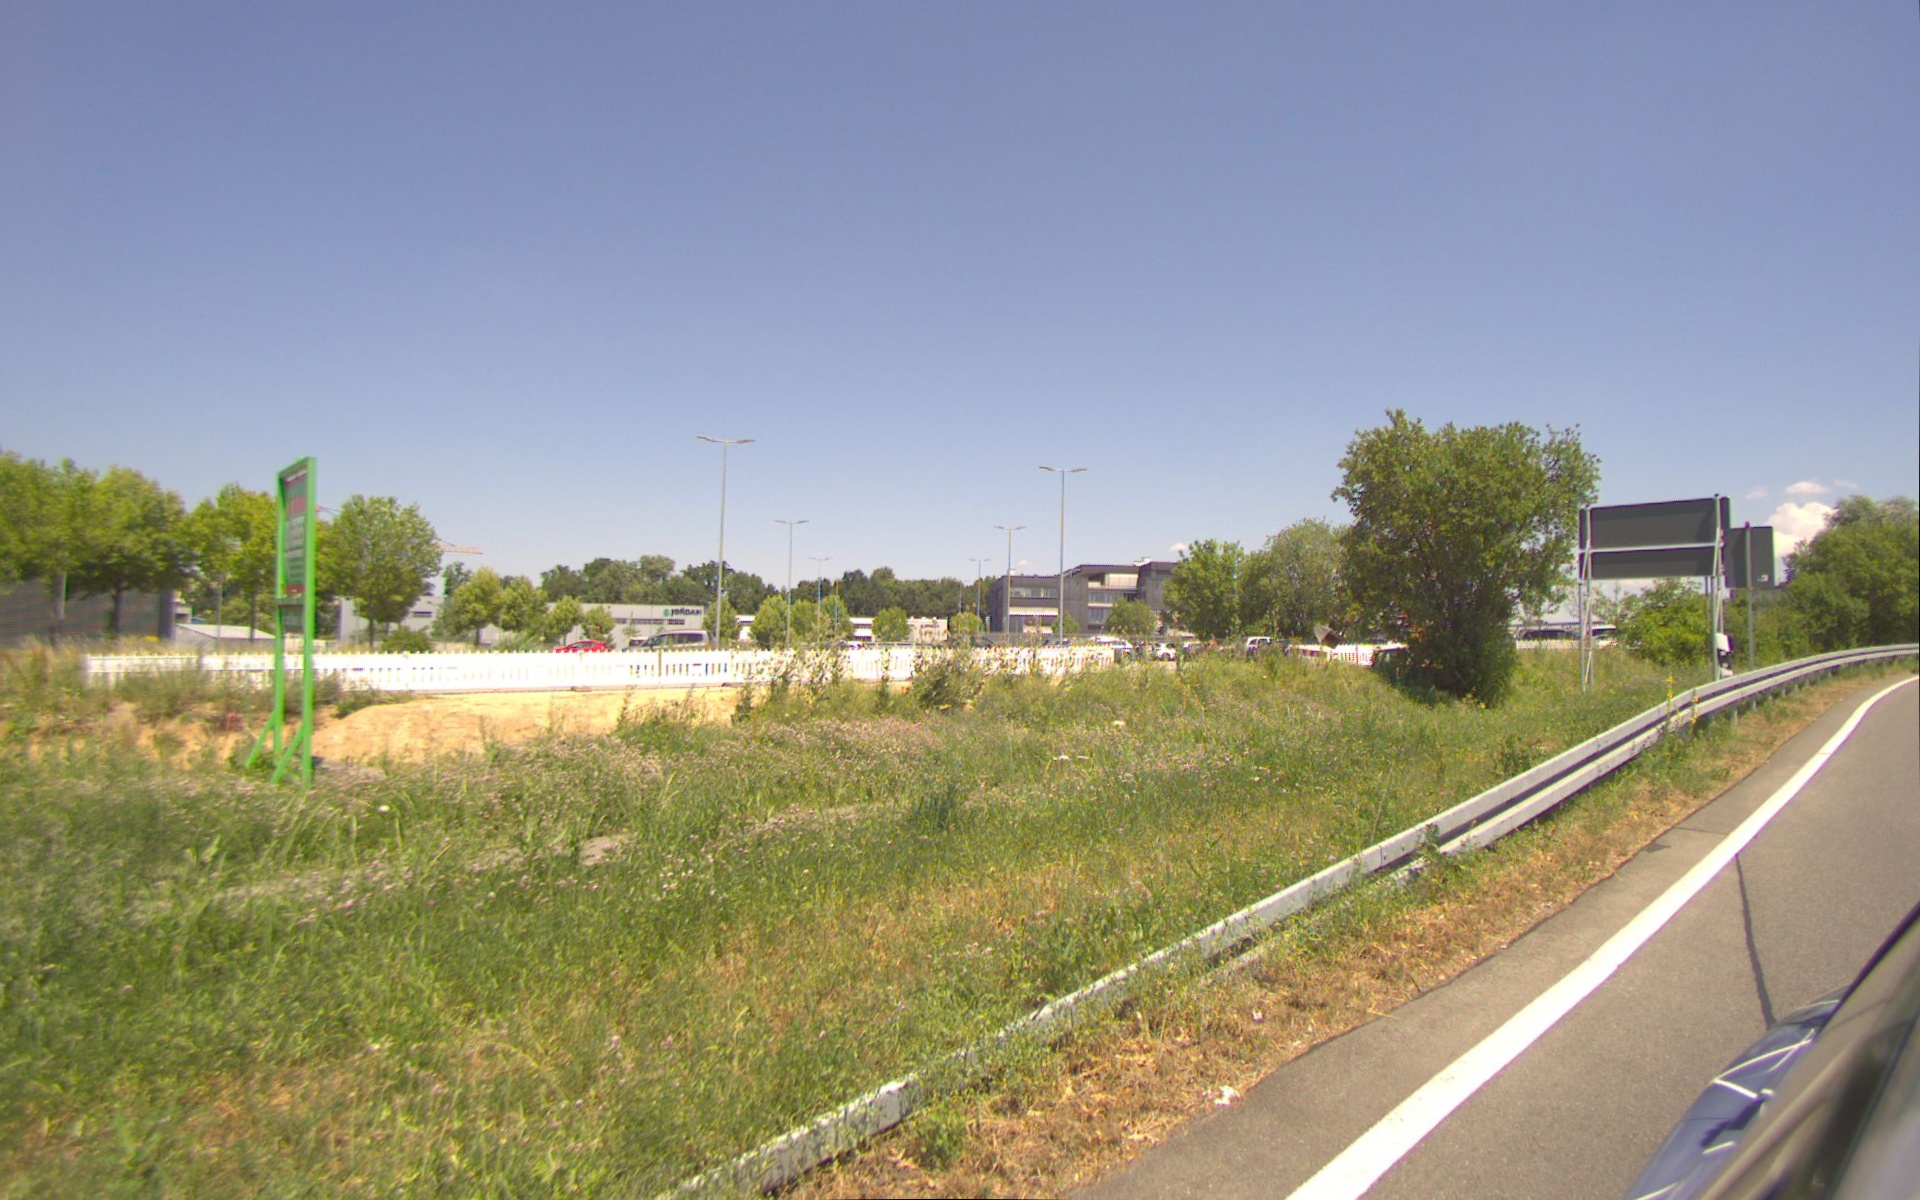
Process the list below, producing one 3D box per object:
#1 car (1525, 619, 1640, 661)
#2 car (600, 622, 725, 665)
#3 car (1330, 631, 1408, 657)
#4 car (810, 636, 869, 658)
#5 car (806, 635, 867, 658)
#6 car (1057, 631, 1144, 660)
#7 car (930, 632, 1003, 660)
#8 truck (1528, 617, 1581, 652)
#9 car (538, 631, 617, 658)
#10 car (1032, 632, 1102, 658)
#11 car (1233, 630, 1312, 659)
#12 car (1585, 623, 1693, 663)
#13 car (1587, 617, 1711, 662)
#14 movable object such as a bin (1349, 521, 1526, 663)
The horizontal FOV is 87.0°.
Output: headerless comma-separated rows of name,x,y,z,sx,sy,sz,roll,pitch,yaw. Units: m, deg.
car,31.139,2.027,50.717,2.025,1.939,4.443,4,-5,-36
car,-13.559,1.969,46.414,5.234,1.839,2.105,0,-2,-8
car,25.457,2.737,63.102,4.007,1.588,1.948,0,-1,-3
car,-9.712,3.824,81.828,4.459,1.707,2.099,-1,-2,4
car,-9.617,3.612,78.932,4.459,1.707,2.099,-1,-2,4
car,7.827,2.534,56.656,4.524,1.527,2.000,0,-1,-1
car,0.371,2.879,63.612,4.450,1.707,2.103,0,-2,-4
truck,68.881,4.108,117.516,3.088,3.733,9.362,0,-4,17
car,-25.248,2.946,66.952,4.454,1.707,2.102,-1,-2,0
car,7.094,2.999,67.584,4.434,1.658,1.947,0,-1,0
car,18.785,2.696,60.913,4.072,1.655,2.002,0,-1,-5
car,35.867,2.279,53.553,1.962,1.995,4.307,4,-4,-35
car,37.744,2.184,55.537,2.097,2.288,5.224,4,-5,-41
movable object such as a bin,20.595,-0.082,43.370,9.062,5.331,3.429,4,-5,-40
